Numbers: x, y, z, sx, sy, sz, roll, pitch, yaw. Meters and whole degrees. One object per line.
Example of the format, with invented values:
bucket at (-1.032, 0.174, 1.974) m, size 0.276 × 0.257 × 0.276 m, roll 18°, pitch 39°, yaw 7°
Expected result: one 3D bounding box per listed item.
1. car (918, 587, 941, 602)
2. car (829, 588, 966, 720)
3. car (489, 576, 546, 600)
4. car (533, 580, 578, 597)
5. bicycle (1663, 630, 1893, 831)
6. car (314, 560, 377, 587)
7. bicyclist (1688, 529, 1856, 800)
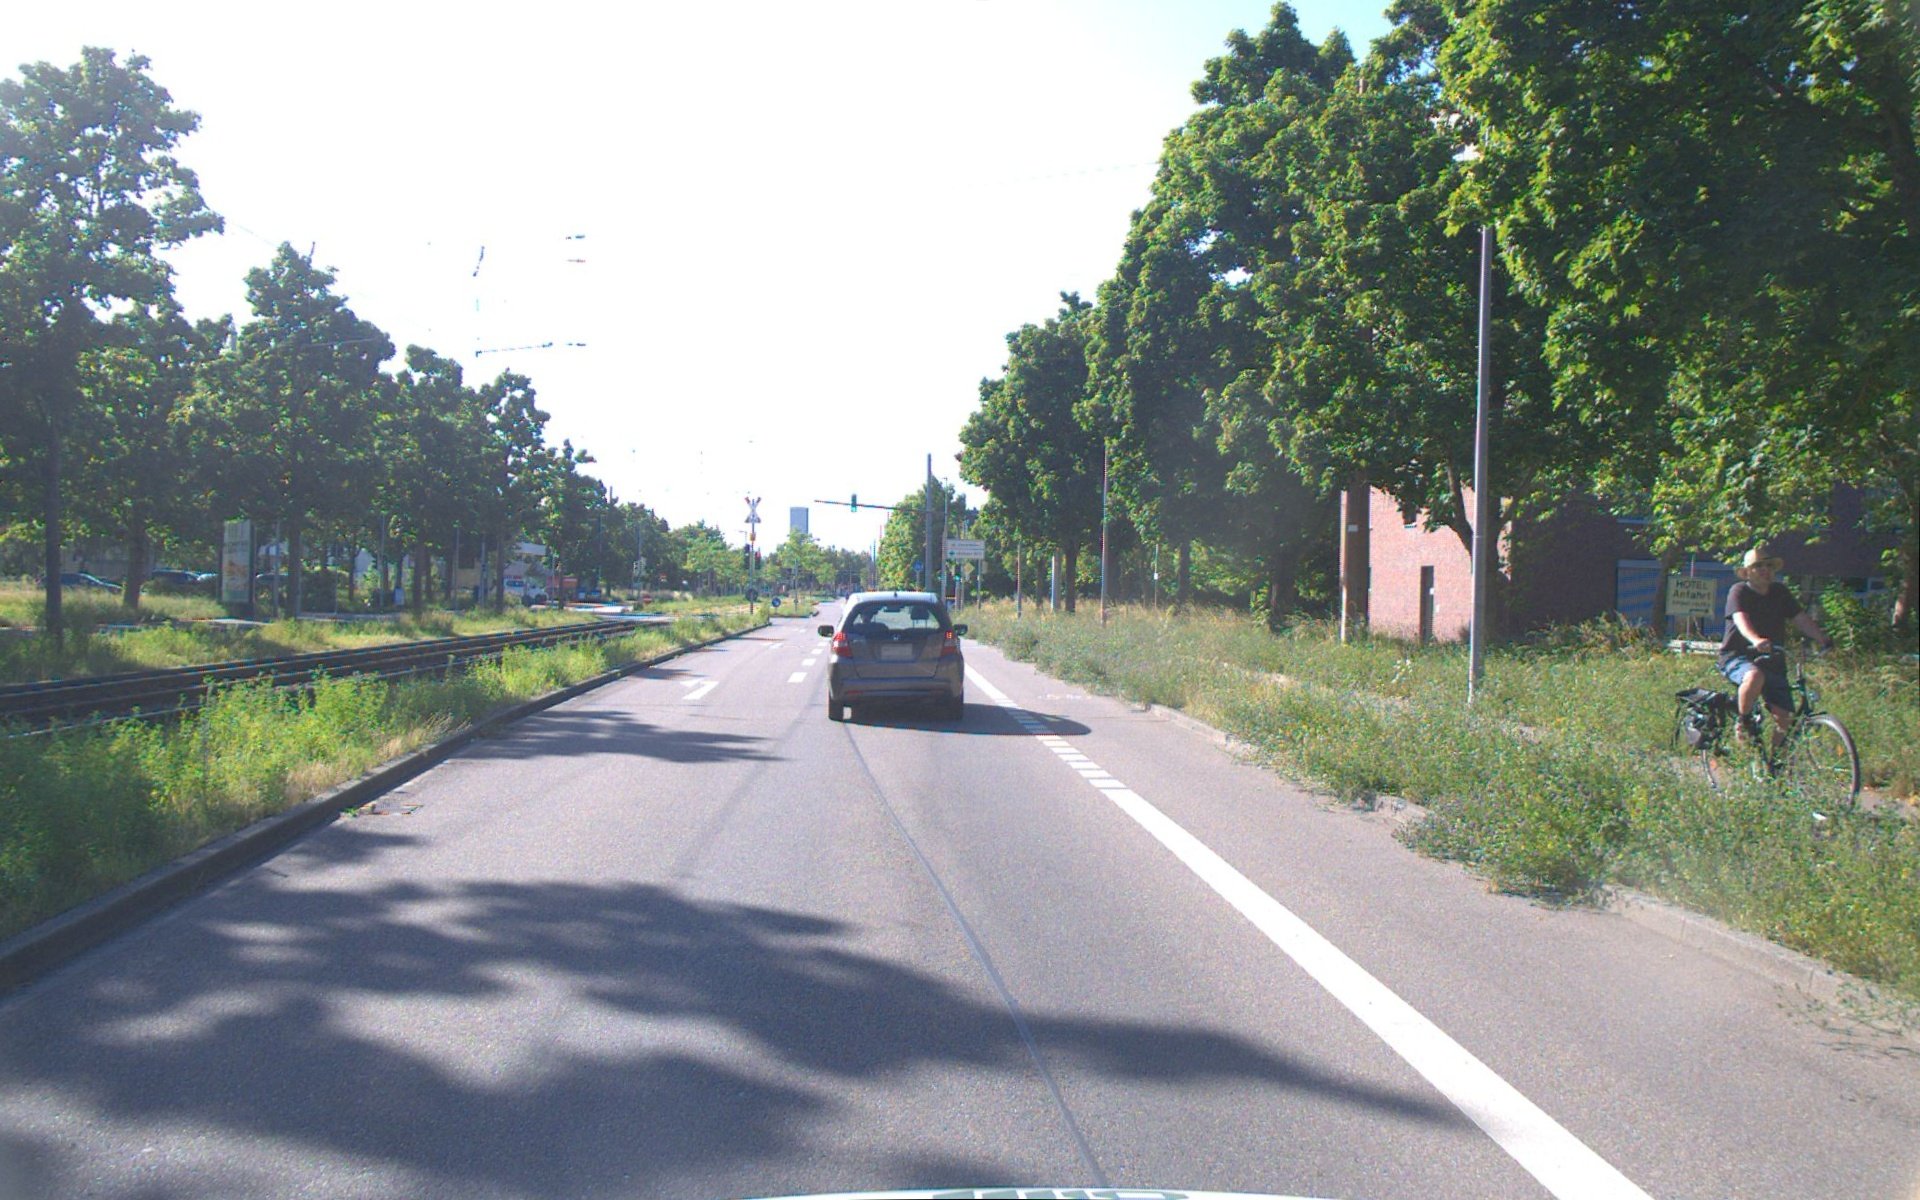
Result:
car at (-2.948, -0.486, 158.113) m, size 1.740 × 1.411 × 3.863 m, roll 0°, pitch 0°, yaw -8°
car at (-0.820, 0.613, 20.924) m, size 1.592 × 1.526 × 3.454 m, roll 0°, pitch 0°, yaw -3°
car at (-39.027, -1.063, 145.882) m, size 1.823 × 2.008 × 4.768 m, roll 1°, pitch 1°, yaw 36°
car at (-39.750, -1.090, 162.585) m, size 3.993 × 1.596 × 1.789 m, roll 1°, pitch 0°, yaw -7°
bicycle at (5.472, 0.827, 11.210) m, size 0.473 × 1.225 × 2.143 m, roll 1°, pitch -2°, yaw -1°
car at (-52.025, -2.233, 140.075) m, size 4.630 × 2.128 × 2.018 m, roll 1°, pitch 0°, yaw -6°
bicyclist at (5.484, 0.423, 11.219) m, size 0.669 × 1.750 × 0.902 m, roll 1°, pitch -1°, yaw -1°
